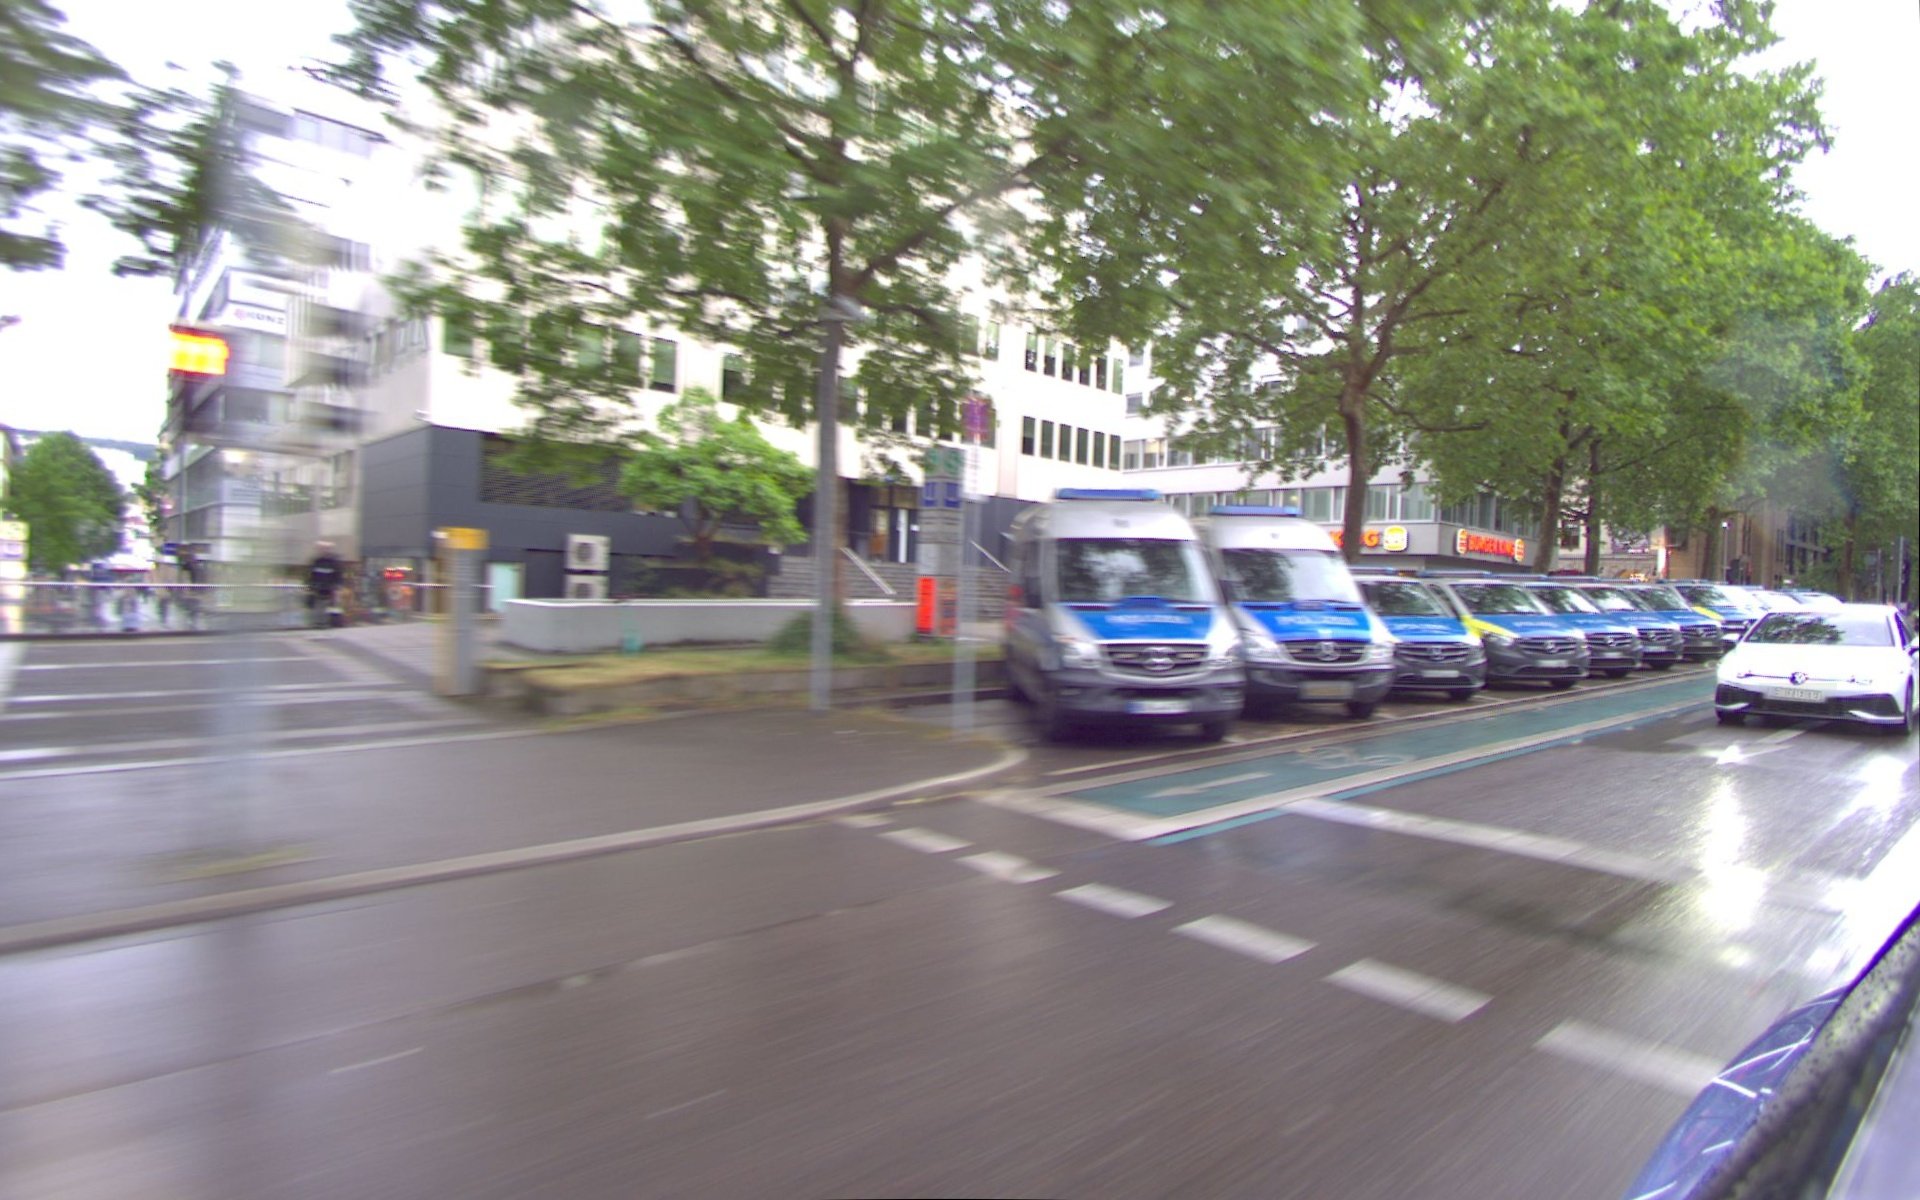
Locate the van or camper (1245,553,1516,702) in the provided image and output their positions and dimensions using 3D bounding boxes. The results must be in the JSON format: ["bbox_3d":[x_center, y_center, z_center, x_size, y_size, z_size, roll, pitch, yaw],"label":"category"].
[{"bbox_3d":[6.482,0.302,16.393,1.960,2.038,5.023,0,2,-5],"label":"van or camper"}]

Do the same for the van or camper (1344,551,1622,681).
[{"bbox_3d":[9.213,0.221,18.492,1.960,2.017,5.215,0,0,-6],"label":"van or camper"}]

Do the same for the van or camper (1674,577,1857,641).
[{"bbox_3d":[27.348,0.287,34.645,1.957,2.045,5.092,0,0,-4],"label":"van or camper"}]

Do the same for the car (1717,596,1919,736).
[{"bbox_3d":[11.156,0.695,12.746,4.433,1.463,1.863,0,0,-43],"label":"car"}]

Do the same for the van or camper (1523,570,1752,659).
[{"bbox_3d":[16.961,0.277,25.742,1.959,2.020,5.032,1,1,-8],"label":"van or camper"}]

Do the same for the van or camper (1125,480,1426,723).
[{"bbox_3d":[4.058,-0.043,14.359,1.960,2.713,5.819,1,1,-5],"label":"van or camper"}]

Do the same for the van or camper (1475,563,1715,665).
[{"bbox_3d":[14.229,0.236,23.149,2.065,2.050,5.111,1,1,-3],"label":"van or camper"}]

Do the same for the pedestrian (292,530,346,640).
[{"bbox_3d":[-12.187,-0.299,19.258,0.754,2.038,0.705,0,2,-21],"label":"pedestrian"}]

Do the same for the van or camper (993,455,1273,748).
[{"bbox_3d":[1.709,-0.030,12.339,2.105,2.711,5.820,1,1,-3],"label":"van or camper"}]

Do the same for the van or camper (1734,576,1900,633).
[{"bbox_3d":[32.527,0.140,38.645,1.963,2.017,4.950,0,0,-2],"label":"van or camper"}]

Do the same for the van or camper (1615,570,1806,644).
[{"bbox_3d":[22.168,0.144,30.196,1.831,2.023,4.859,1,1,-4],"label":"van or camper"}]

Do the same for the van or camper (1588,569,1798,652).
[{"bbox_3d":[19.663,0.217,27.478,1.960,2.036,4.799,0,1,-4],"label":"van or camper"}]
